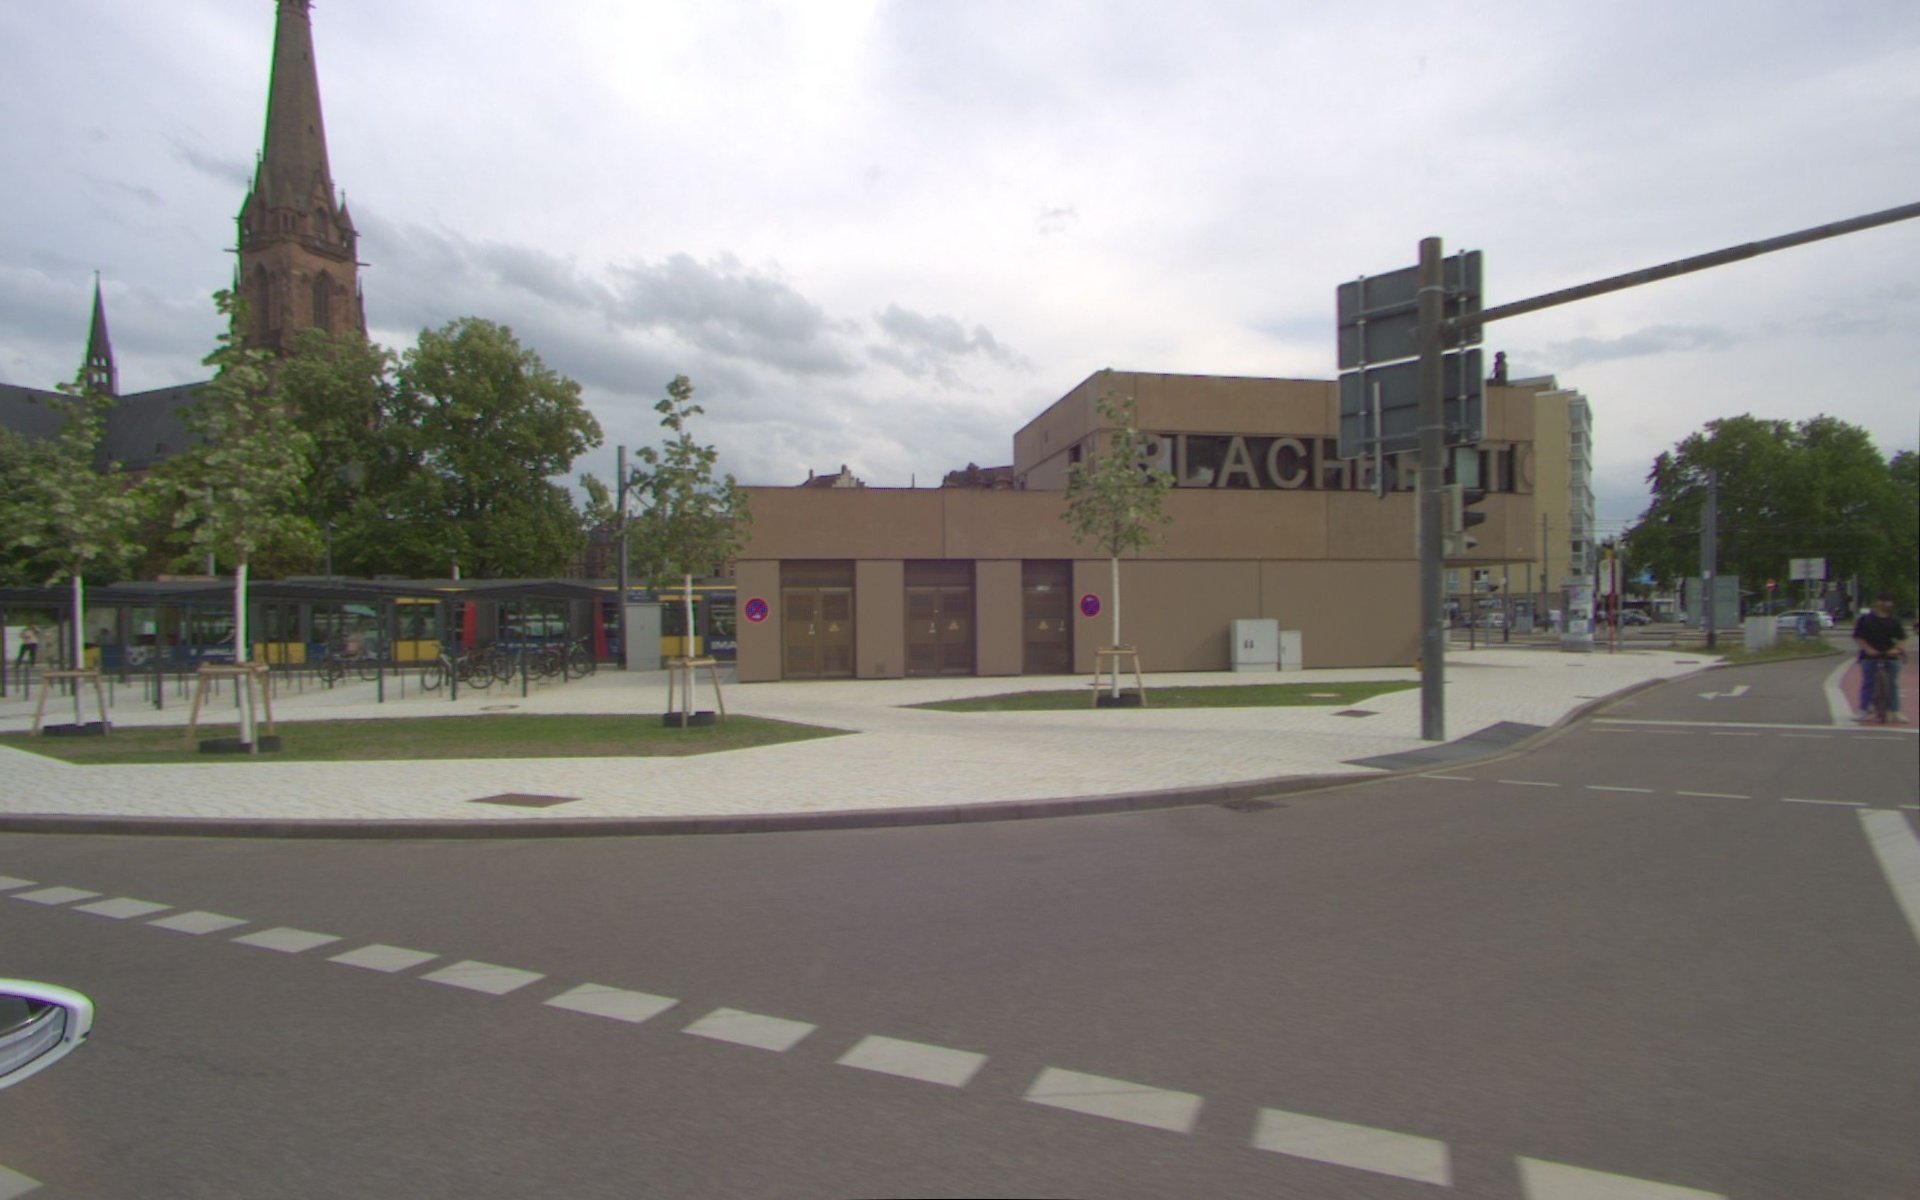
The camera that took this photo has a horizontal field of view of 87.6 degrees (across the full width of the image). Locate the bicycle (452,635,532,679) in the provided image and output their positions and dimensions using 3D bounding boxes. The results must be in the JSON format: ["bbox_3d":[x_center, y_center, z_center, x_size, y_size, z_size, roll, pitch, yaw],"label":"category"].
[{"bbox_3d":[-12.992,1.584,27.836,1.933,1.171,0.582,2,1,-20],"label":"bicycle"}]

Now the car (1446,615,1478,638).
[{"bbox_3d":[46.845,2.465,93.435,1.973,2.040,3.975,2,0,36],"label":"car"}]

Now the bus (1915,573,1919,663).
[{"bbox_3d":[34.274,0.559,33.388,3.122,3.298,12.309,2,0,42],"label":"bus"}]

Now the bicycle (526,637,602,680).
[{"bbox_3d":[-11.083,1.641,28.111,1.933,1.171,0.582,2,1,-20],"label":"bicycle"}]

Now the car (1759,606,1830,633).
[{"bbox_3d":[62.398,1.466,74.907,3.955,1.879,1.983,2,0,43],"label":"car"}]

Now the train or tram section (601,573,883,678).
[{"bbox_3d":[-7.916,0.967,37.166,9.745,3.496,3.059,2,0,-11],"label":"train or tram section"}]

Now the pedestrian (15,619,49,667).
[{"bbox_3d":[-35.854,1.659,38.685,0.742,1.825,0.819,2,1,36],"label":"pedestrian"}]

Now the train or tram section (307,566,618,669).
[{"bbox_3d":[-17.204,0.642,35.348,9.254,3.255,3.059,2,0,-11],"label":"train or tram section"}]

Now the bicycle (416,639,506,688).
[{"bbox_3d":[-12.484,1.589,25.097,1.933,1.171,0.582,2,1,-20],"label":"bicycle"}]

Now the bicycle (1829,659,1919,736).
[{"bbox_3d":[12.907,1.326,14.036,0.853,0.888,2.503,2,0,36],"label":"bicycle"}]

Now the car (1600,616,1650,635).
[{"bbox_3d":[66.074,2.493,99.449,3.951,1.706,1.593,2,0,40],"label":"car"}]

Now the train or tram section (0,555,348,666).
[{"bbox_3d":[-26.305,0.369,33.704,9.195,3.321,3.059,2,0,-11],"label":"train or tram section"}]

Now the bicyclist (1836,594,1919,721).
[{"bbox_3d":[12.928,0.783,14.032,0.858,1.691,0.875,2,1,37],"label":"bicyclist"}]

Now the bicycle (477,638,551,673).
[{"bbox_3d":[-13.447,1.673,30.233,1.931,0.983,0.583,2,0,-14],"label":"bicycle"}]

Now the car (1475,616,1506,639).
[{"bbox_3d":[48.710,2.515,91.891,1.973,2.040,3.975,2,0,36],"label":"car"}]

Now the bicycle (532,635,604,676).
[{"bbox_3d":[-11.536,1.632,29.493,1.933,1.171,0.582,2,1,-20],"label":"bicycle"}]

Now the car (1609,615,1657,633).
[{"bbox_3d":[69.188,2.465,102.994,3.951,1.706,1.593,2,0,40],"label":"car"}]

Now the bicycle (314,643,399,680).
[{"bbox_3d":[-16.966,1.724,28.190,1.931,0.968,0.583,2,0,-14],"label":"bicycle"}]

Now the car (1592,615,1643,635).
[{"bbox_3d":[63.486,2.407,96.729,3.951,1.706,1.593,2,0,40],"label":"car"}]

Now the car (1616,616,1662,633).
[{"bbox_3d":[73.386,2.598,108.181,3.951,1.706,1.593,2,0,40],"label":"car"}]
